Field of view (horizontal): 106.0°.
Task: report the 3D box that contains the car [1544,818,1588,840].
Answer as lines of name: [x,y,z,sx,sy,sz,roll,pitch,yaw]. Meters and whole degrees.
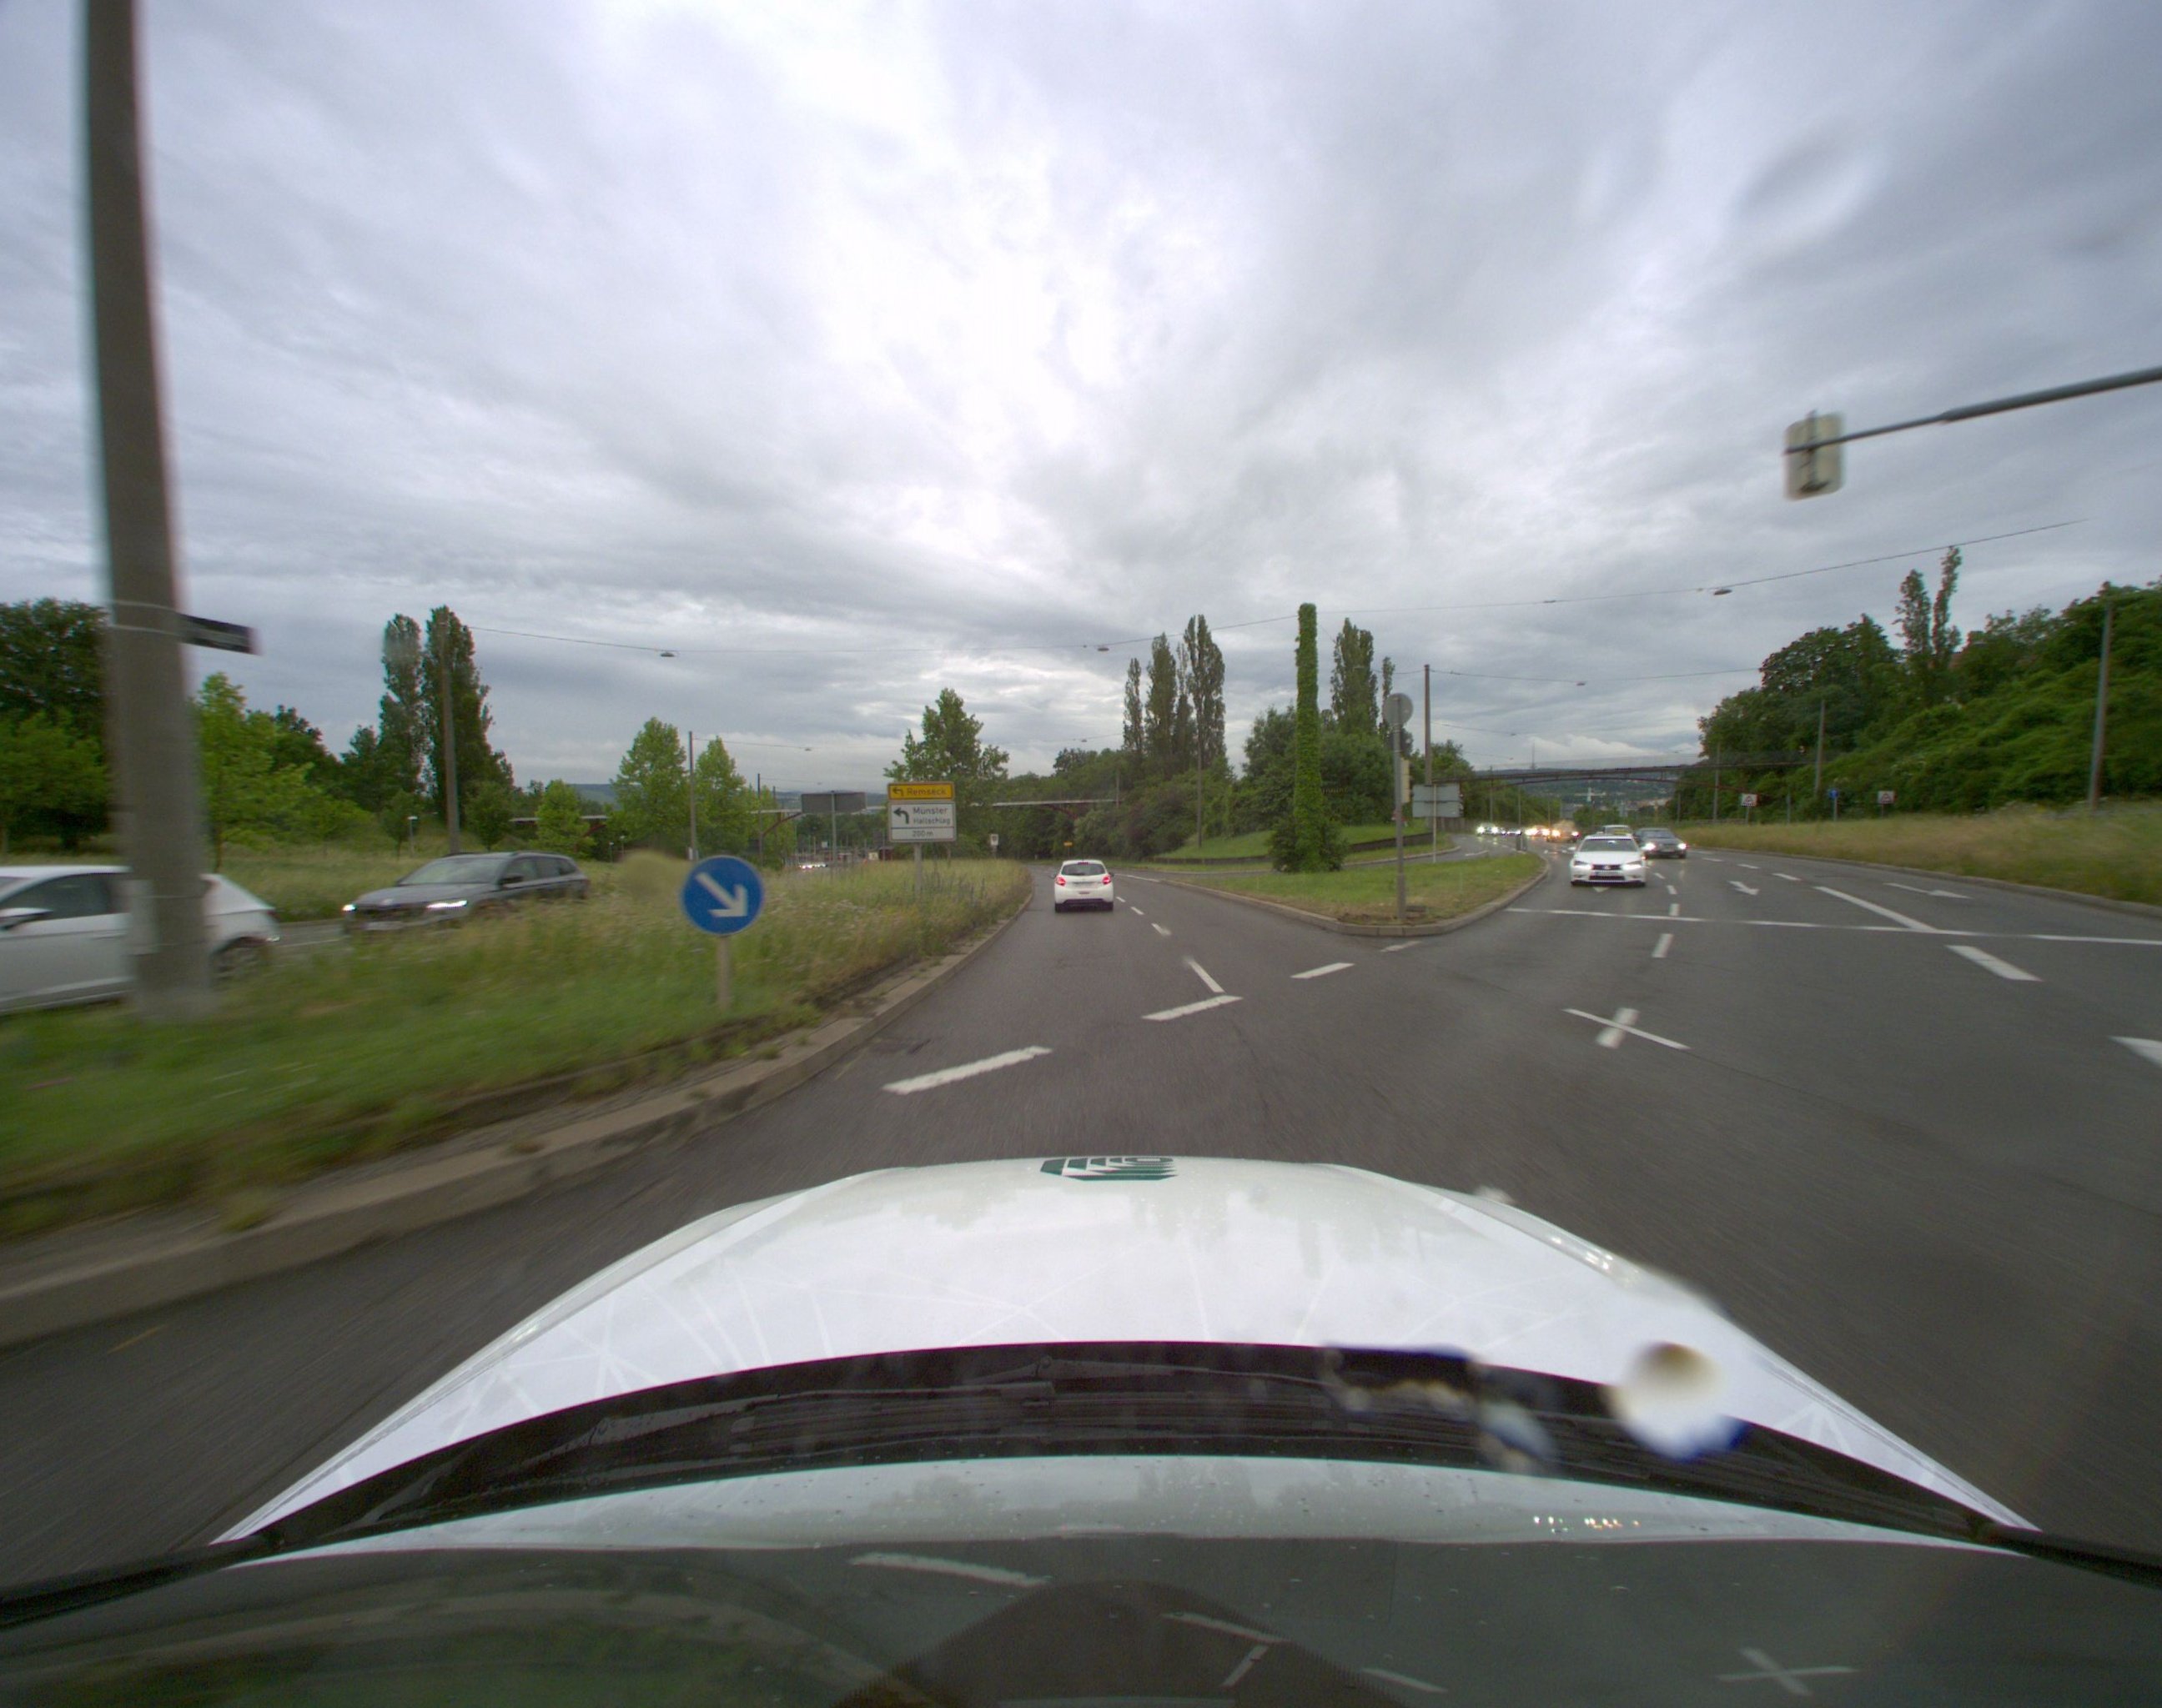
car: [38.347,-2.005,64.471,1.978,1.617,4.393,0,3,17]

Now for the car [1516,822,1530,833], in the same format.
car: [67.026,-4.040,123.523,1.559,1.595,3.552,1,4,24]

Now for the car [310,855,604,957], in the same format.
car: [-10.220,0.760,13.817,1.890,1.324,3.999,-1,2,-1]

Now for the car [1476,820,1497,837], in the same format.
car: [43.099,-2.732,86.630,1.861,1.653,4.150,1,4,25]

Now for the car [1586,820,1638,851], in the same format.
car: [30.905,-1.099,47.508,1.975,1.617,4.399,1,4,26]

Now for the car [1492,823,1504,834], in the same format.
car: [65.370,-3.960,127.644,1.559,1.595,3.552,1,4,24]

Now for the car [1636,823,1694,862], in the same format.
car: [27.827,-0.614,38.911,1.974,1.617,4.401,1,4,33]

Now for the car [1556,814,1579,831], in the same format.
car: [61.996,-4.082,103.867,2.055,2.083,4.398,1,4,25]

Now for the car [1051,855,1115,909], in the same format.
car: [0.084,0.793,24.315,1.702,1.440,3.691,-2,-1,1]

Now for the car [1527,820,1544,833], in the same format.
car: [58.069,-3.571,104.027,1.559,1.595,3.552,1,4,24]

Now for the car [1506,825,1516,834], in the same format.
car: [75.247,-4.314,142.467,1.400,1.369,3.168,1,4,30]

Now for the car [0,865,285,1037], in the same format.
car: [-9.557,0.798,6.972,1.734,1.373,3.993,-1,-1,-4]

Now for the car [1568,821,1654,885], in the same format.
car: [15.689,-0.116,24.195,1.974,1.617,4.026,1,4,32]
